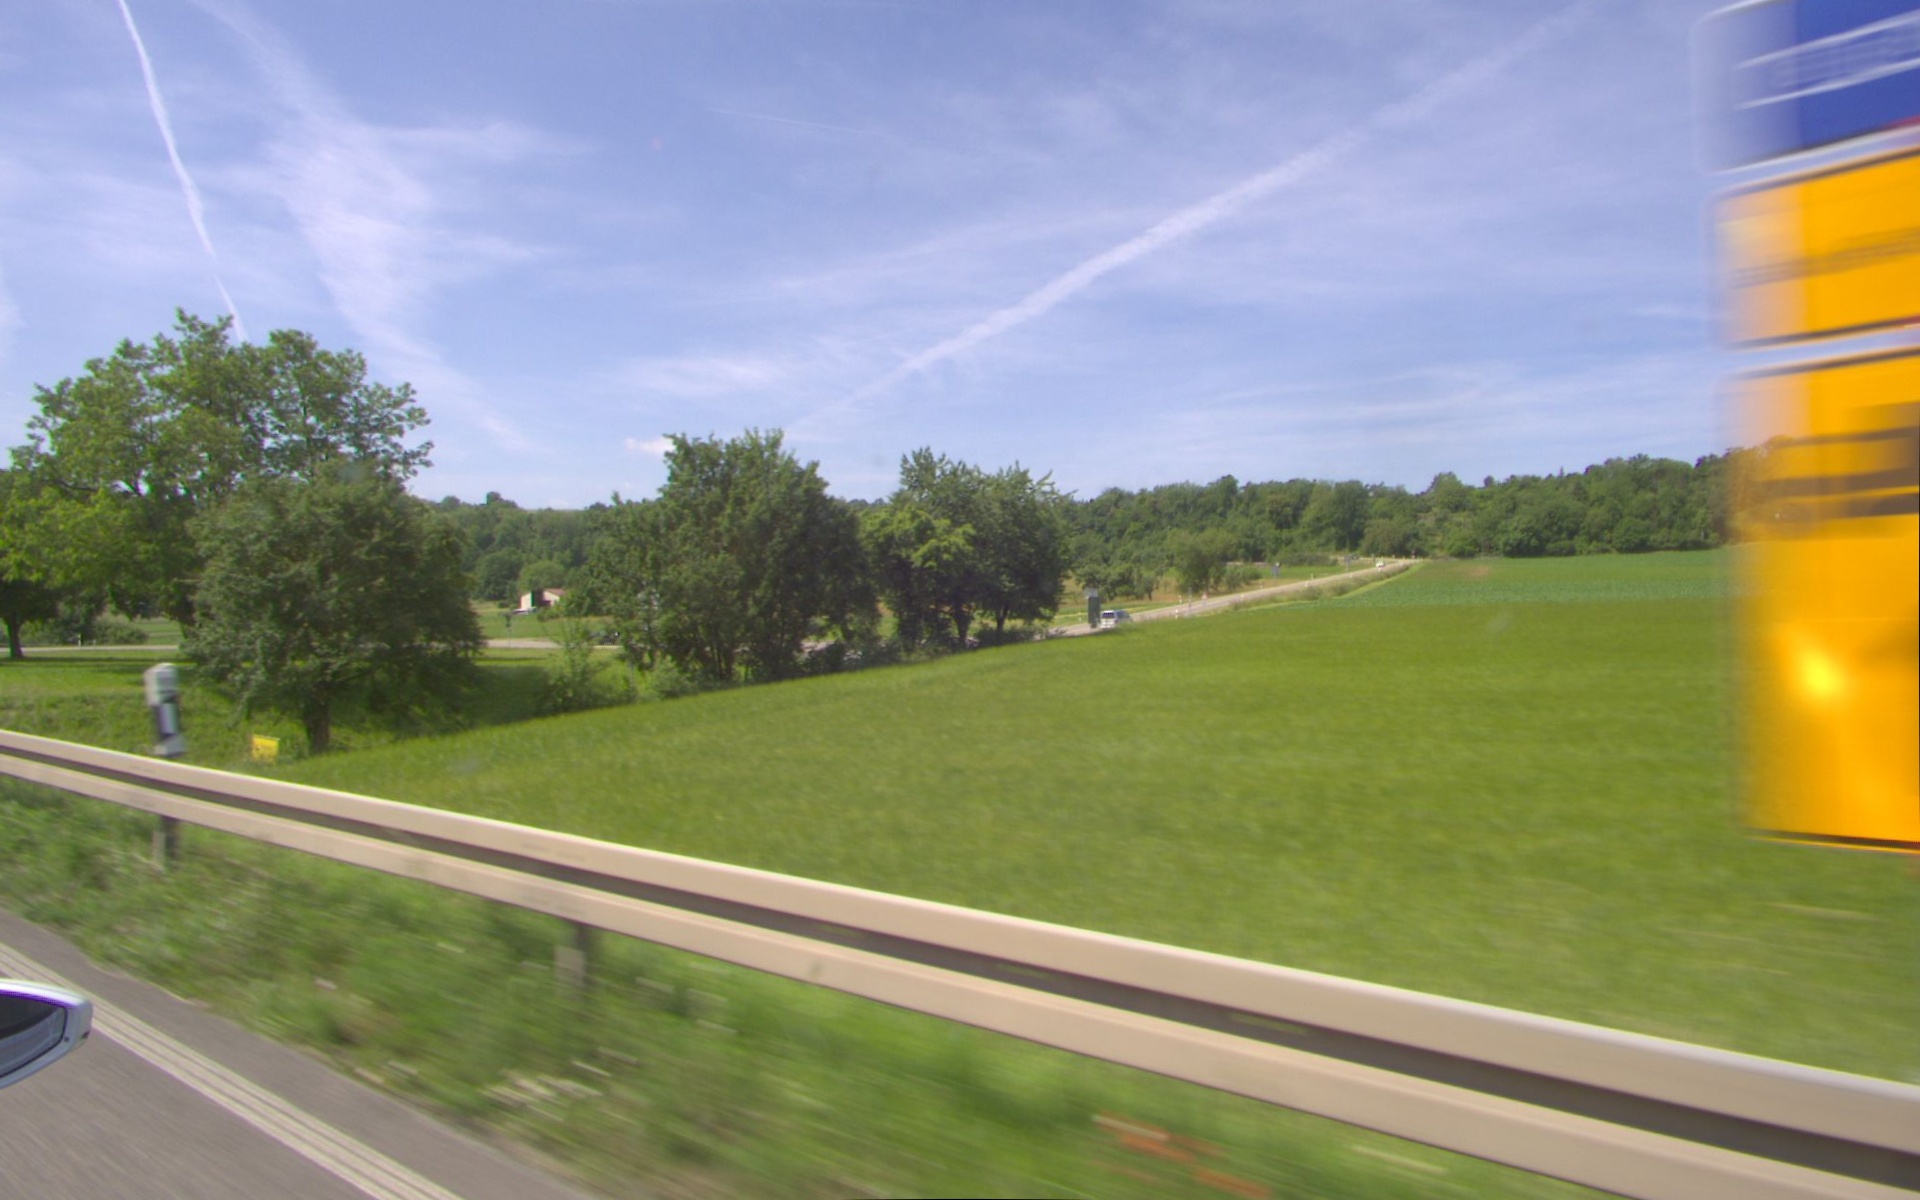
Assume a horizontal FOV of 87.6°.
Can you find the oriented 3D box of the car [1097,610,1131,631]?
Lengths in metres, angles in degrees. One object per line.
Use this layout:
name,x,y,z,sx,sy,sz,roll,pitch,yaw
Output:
car,13.911,1.795,90.125,1.783,1.572,3.980,0,4,28
